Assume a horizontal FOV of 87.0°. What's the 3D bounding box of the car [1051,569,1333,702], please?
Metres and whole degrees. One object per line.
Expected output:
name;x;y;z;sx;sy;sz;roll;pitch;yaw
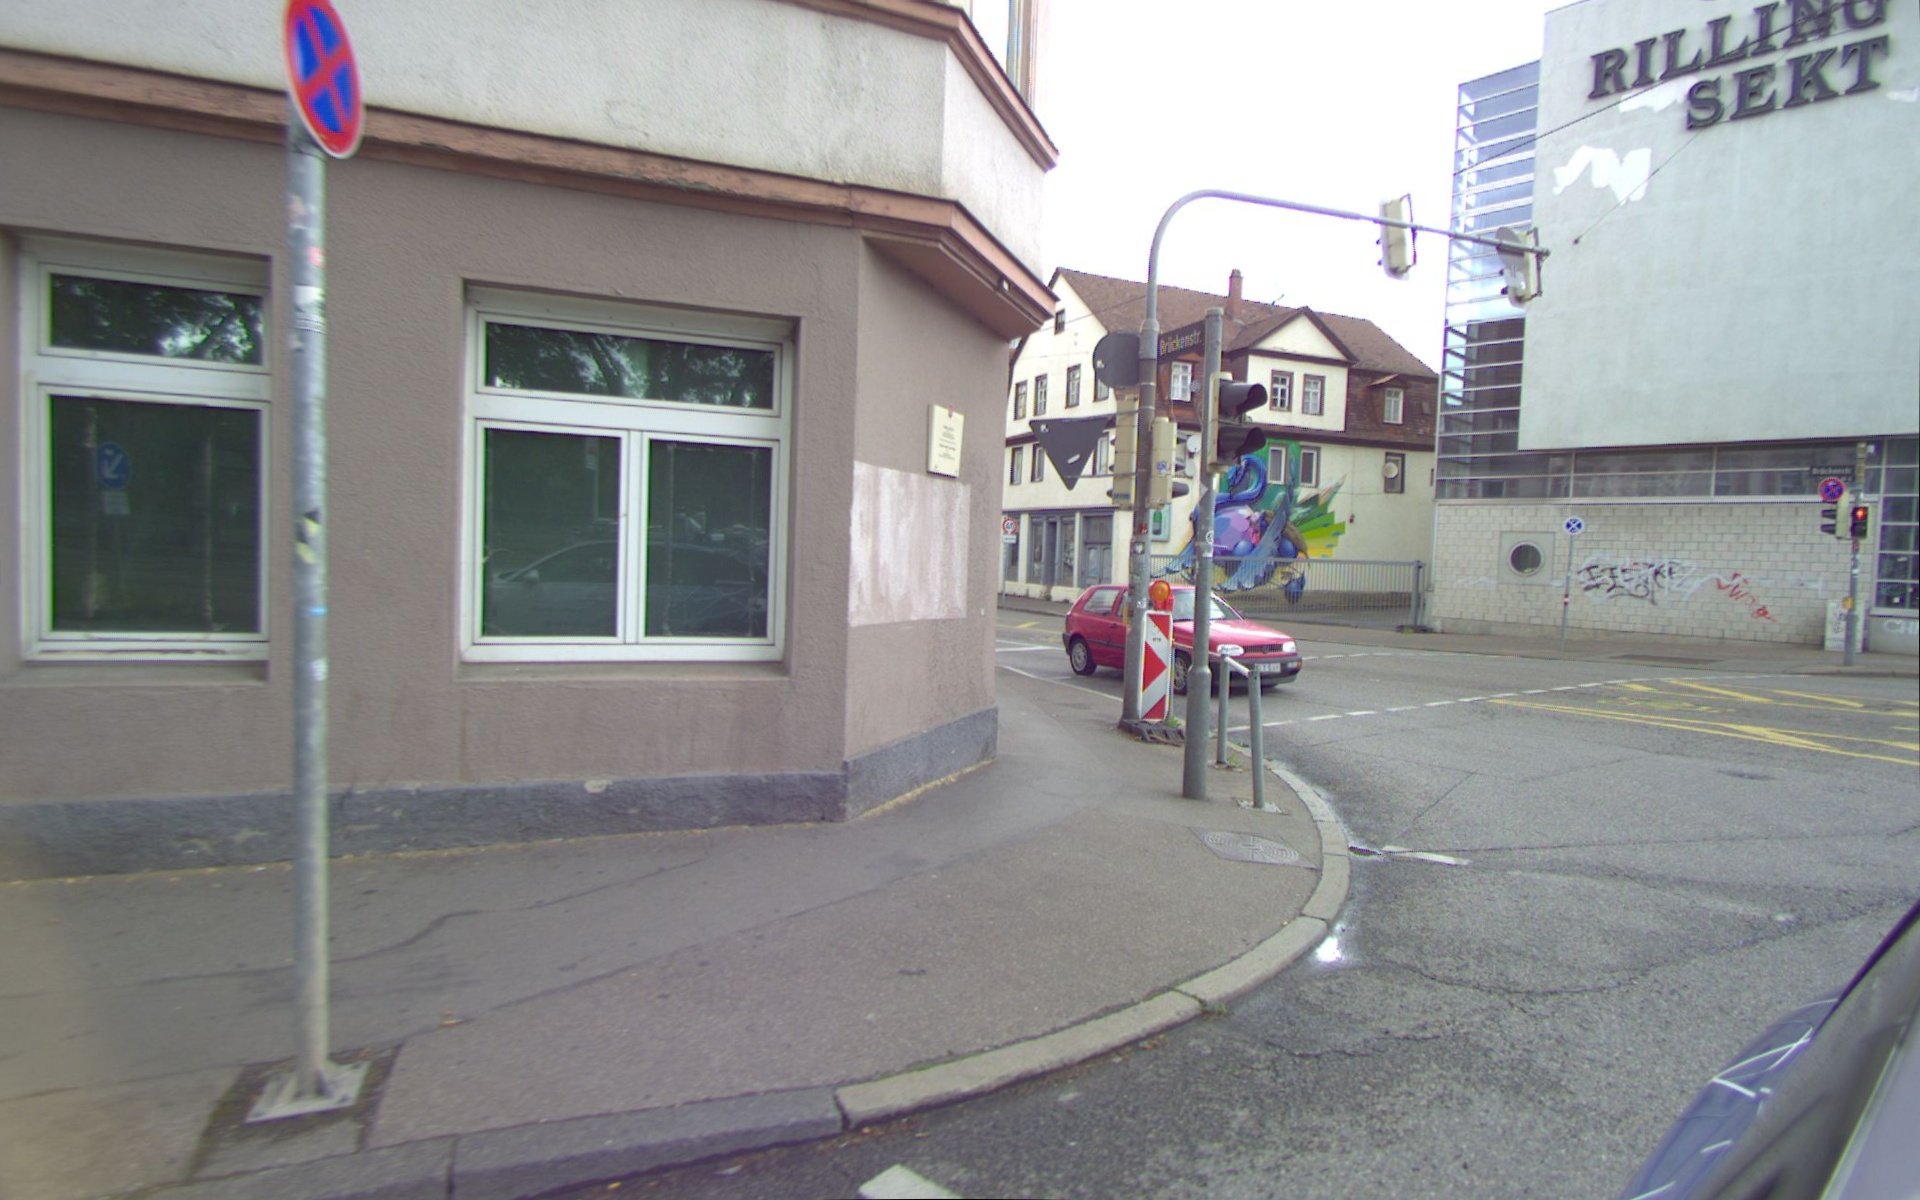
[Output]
car;3.170;0.368;14.633;1.769;1.484;4.007;-2;4;-29

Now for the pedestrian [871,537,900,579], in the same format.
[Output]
pedestrian;-3.478;-1.960;47.274;1.036;1.909;1.093;0;2;-26
